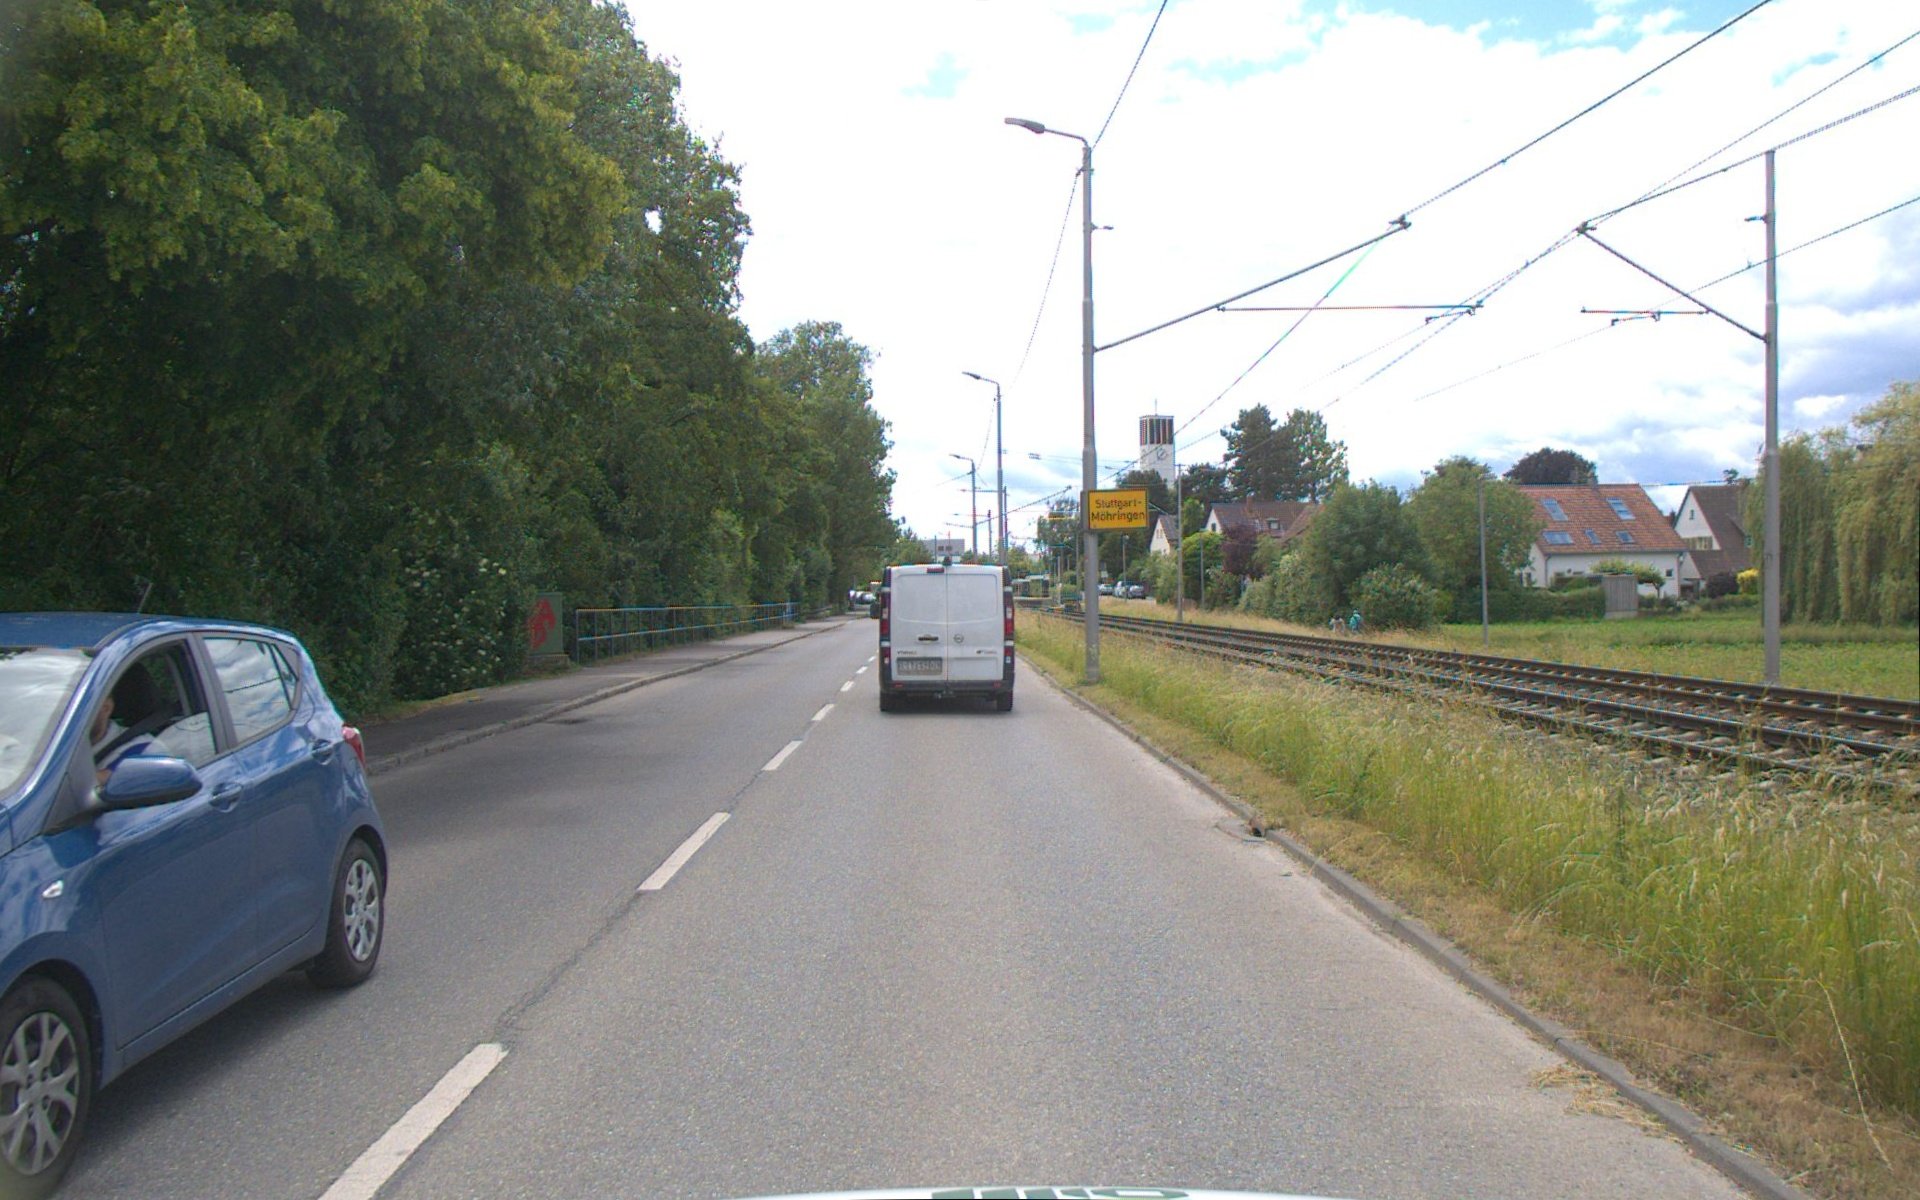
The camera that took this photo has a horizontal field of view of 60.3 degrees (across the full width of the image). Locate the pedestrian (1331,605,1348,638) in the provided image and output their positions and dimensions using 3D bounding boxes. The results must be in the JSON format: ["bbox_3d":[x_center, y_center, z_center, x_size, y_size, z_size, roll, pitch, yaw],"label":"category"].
[{"bbox_3d":[16.659,0.934,72.594,0.585,1.455,0.666,1,0,-1],"label":"pedestrian"}]

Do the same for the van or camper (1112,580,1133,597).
[{"bbox_3d":[19.107,-1.346,194.488,1.866,1.857,5.047,-1,0,0],"label":"van or camper"}]

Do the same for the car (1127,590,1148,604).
[{"bbox_3d":[19.710,-0.340,183.674,1.845,1.548,4.000,-1,0,0],"label":"car"}]

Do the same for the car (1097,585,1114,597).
[{"bbox_3d":[19.023,-1.142,216.193,1.845,1.548,4.000,-1,0,0],"label":"car"}]

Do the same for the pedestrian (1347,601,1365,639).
[{"bbox_3d":[17.365,0.868,72.549,0.604,1.650,0.584,1,0,-1],"label":"pedestrian"}]

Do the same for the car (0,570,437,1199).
[{"bbox_3d":[-3.128,0.748,5.303,1.672,1.555,3.824,-3,0,-1],"label":"car"}]

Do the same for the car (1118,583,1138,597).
[{"bbox_3d":[19.210,-1.156,189.768,1.845,1.548,4.000,-1,0,0],"label":"car"}]

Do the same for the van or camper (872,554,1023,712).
[{"bbox_3d":[-0.190,0.436,23.673,1.953,2.049,4.445,0,0,-1],"label":"van or camper"}]
